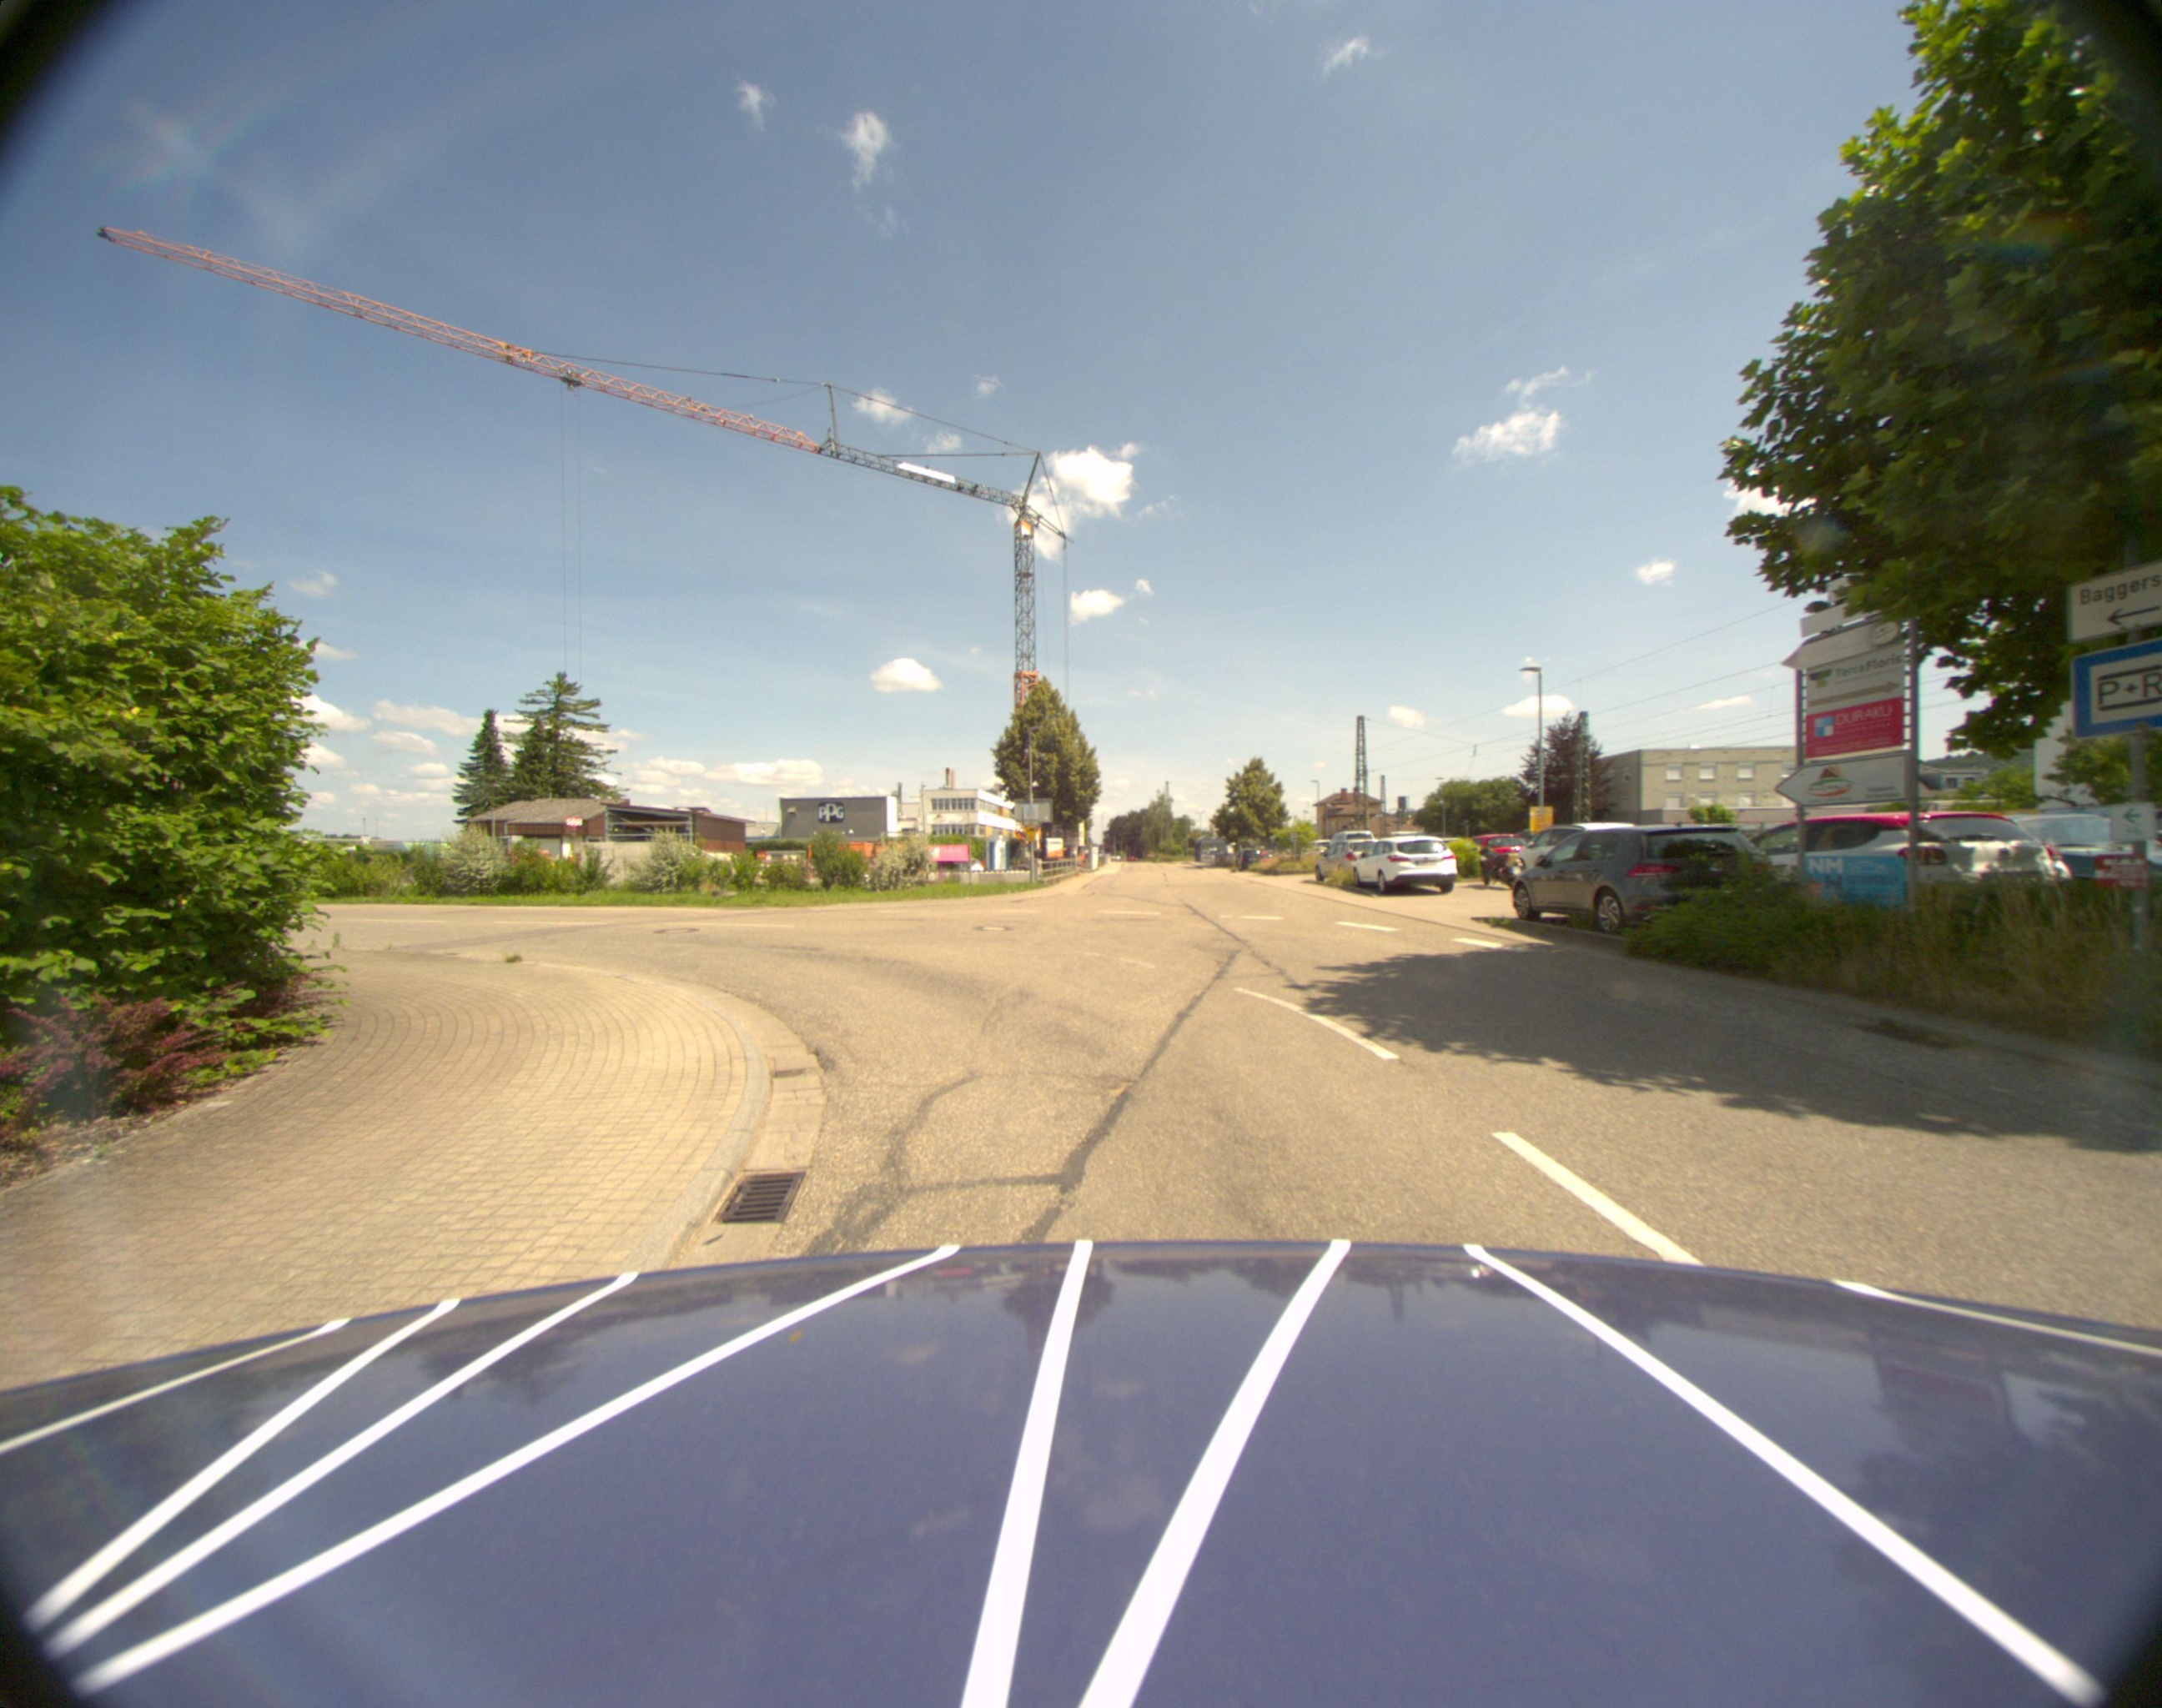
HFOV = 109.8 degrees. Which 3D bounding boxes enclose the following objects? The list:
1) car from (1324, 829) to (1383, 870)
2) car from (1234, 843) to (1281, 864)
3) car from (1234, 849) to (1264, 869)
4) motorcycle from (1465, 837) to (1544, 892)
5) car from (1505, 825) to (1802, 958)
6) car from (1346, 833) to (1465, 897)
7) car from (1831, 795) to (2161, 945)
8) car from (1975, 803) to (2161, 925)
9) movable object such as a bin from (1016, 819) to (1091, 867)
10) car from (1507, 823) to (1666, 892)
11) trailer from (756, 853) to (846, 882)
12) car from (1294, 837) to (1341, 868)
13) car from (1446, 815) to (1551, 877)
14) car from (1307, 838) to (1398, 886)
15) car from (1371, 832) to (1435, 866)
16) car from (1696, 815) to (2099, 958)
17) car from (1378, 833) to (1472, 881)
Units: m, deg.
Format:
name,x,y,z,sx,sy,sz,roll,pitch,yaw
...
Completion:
name,x,y,z,sx,sy,sz,roll,pitch,yaw
car,12.956,-0.223,36.354,1.952,1.822,3.837,-1,1,8
car,14.392,-0.068,62.074,3.437,1.583,1.649,-1,3,-3
car,11.964,0.350,54.306,1.607,1.342,4.001,-1,1,4
motorcycle,11.448,0.252,20.671,0.739,1.365,3.215,-1,1,7
car,7.735,0.409,10.831,1.688,1.522,4.065,-1,1,9
car,8.736,0.245,20.875,1.807,1.555,4.263,-1,1,5
car,12.788,0.135,10.106,1.997,1.628,4.089,-1,1,9
car,15.457,0.117,10.384,1.997,1.628,4.088,-1,1,8
movable object such as a bin,-2.072,-0.890,55.950,5.131,3.277,2.390,-1,6,-14
car,13.466,0.073,20.603,1.997,1.648,4.265,-1,1,9
trailer,-18.795,0.882,51.277,5.400,1.769,1.820,-1,3,-10
car,13.455,-0.102,43.488,1.731,1.676,4.001,0,1,4
car,14.514,-0.289,26.673,1.849,2.002,4.001,-1,1,6
car,9.424,0.238,26.716,1.795,1.535,3.960,-1,1,1
car,16.046,-0.257,38.118,1.952,1.600,4.274,-1,1,8
car,10.249,0.335,10.008,1.794,1.528,3.580,-1,1,9
car,11.980,0.078,26.738,1.804,1.555,4.264,-1,1,7
